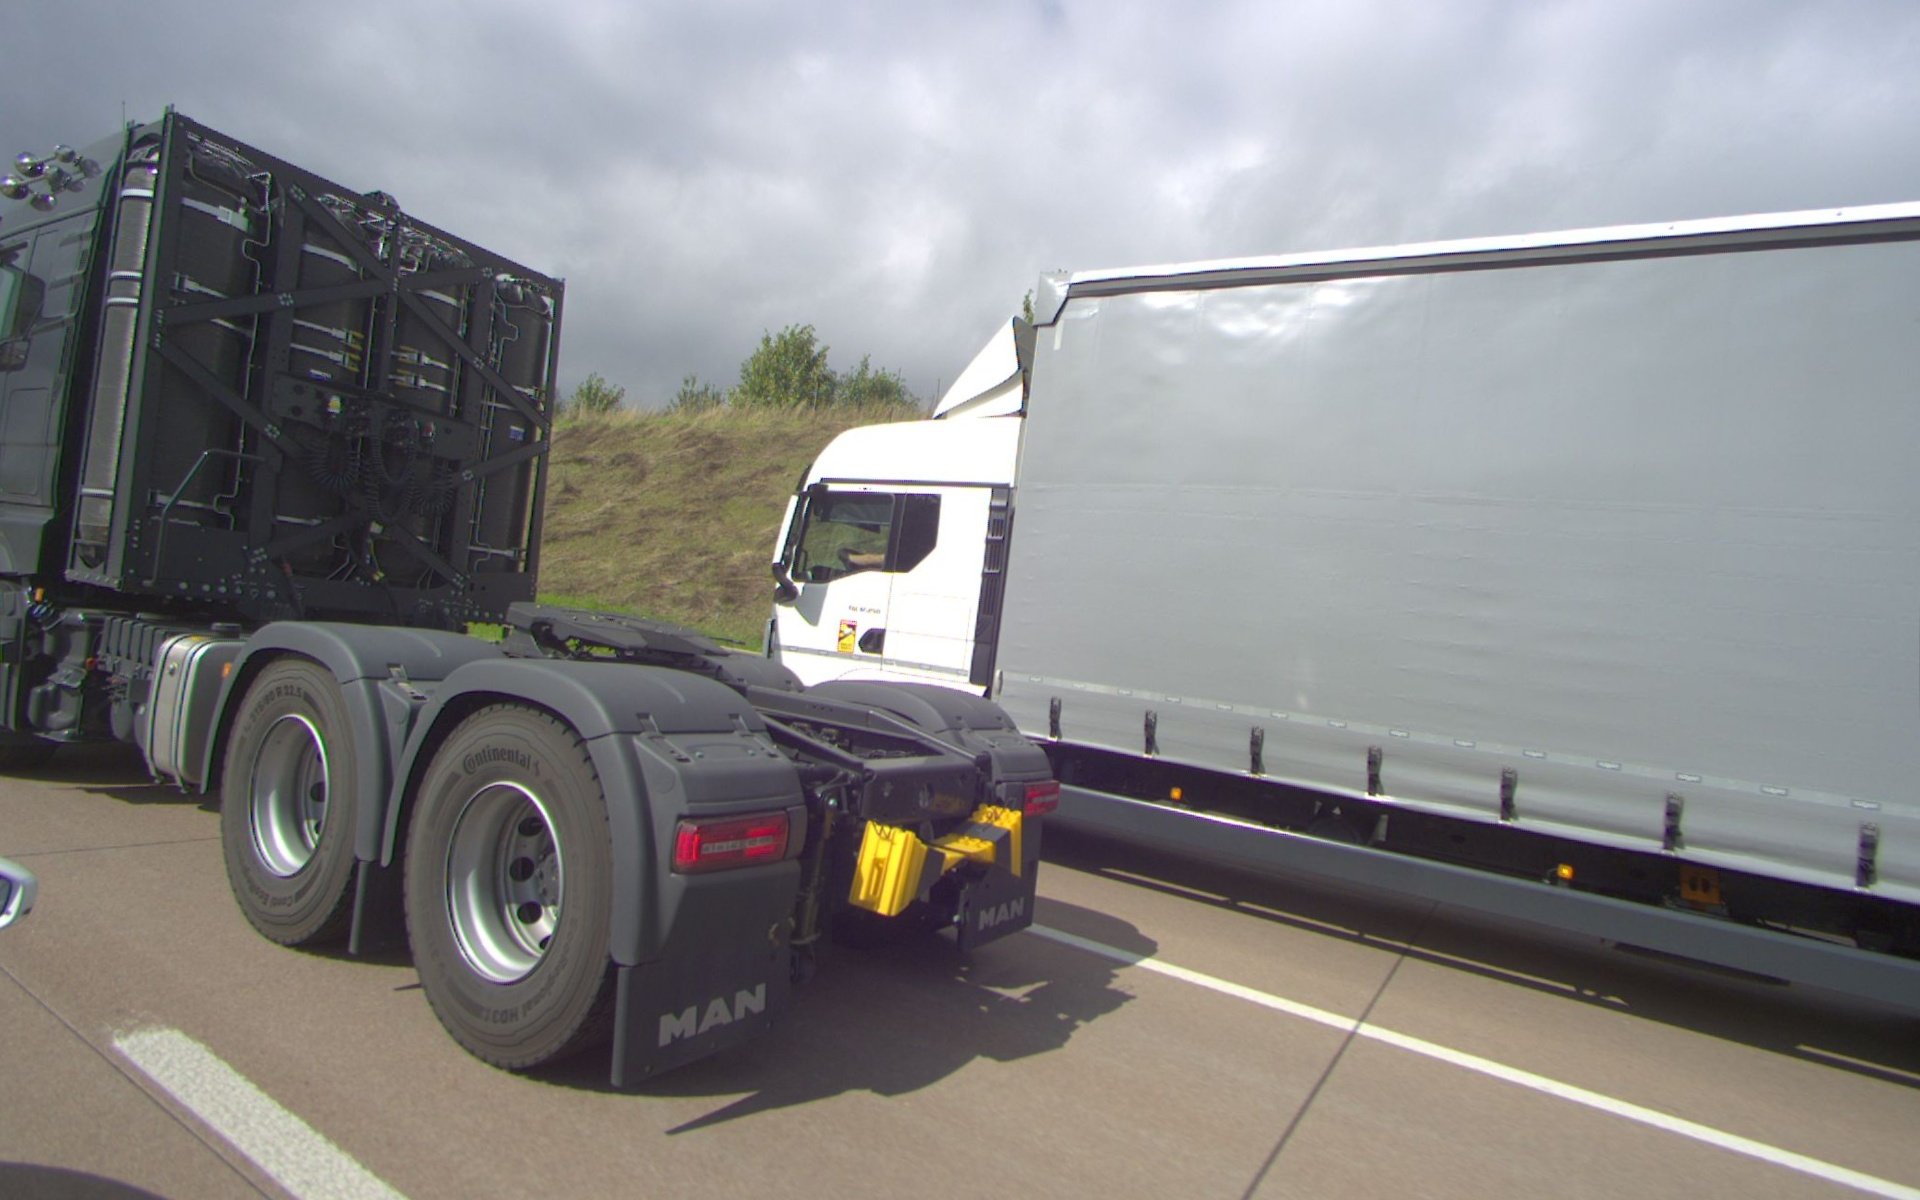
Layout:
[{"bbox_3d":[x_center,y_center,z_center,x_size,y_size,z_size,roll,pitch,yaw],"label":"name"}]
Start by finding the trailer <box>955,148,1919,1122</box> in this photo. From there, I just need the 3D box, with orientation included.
[{"bbox_3d":[4.554,0.215,5.468,8.524,4.058,2.754,7,-1,30],"label":"trailer"}]

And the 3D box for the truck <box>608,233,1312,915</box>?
[{"bbox_3d":[0.041,-0.232,8.081,4.469,3.937,2.755,6,-2,30],"label":"truck"}]

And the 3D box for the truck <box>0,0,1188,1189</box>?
[{"bbox_3d":[-3.306,-0.617,5.734,8.179,3.590,2.854,6,-2,30],"label":"truck"}]
